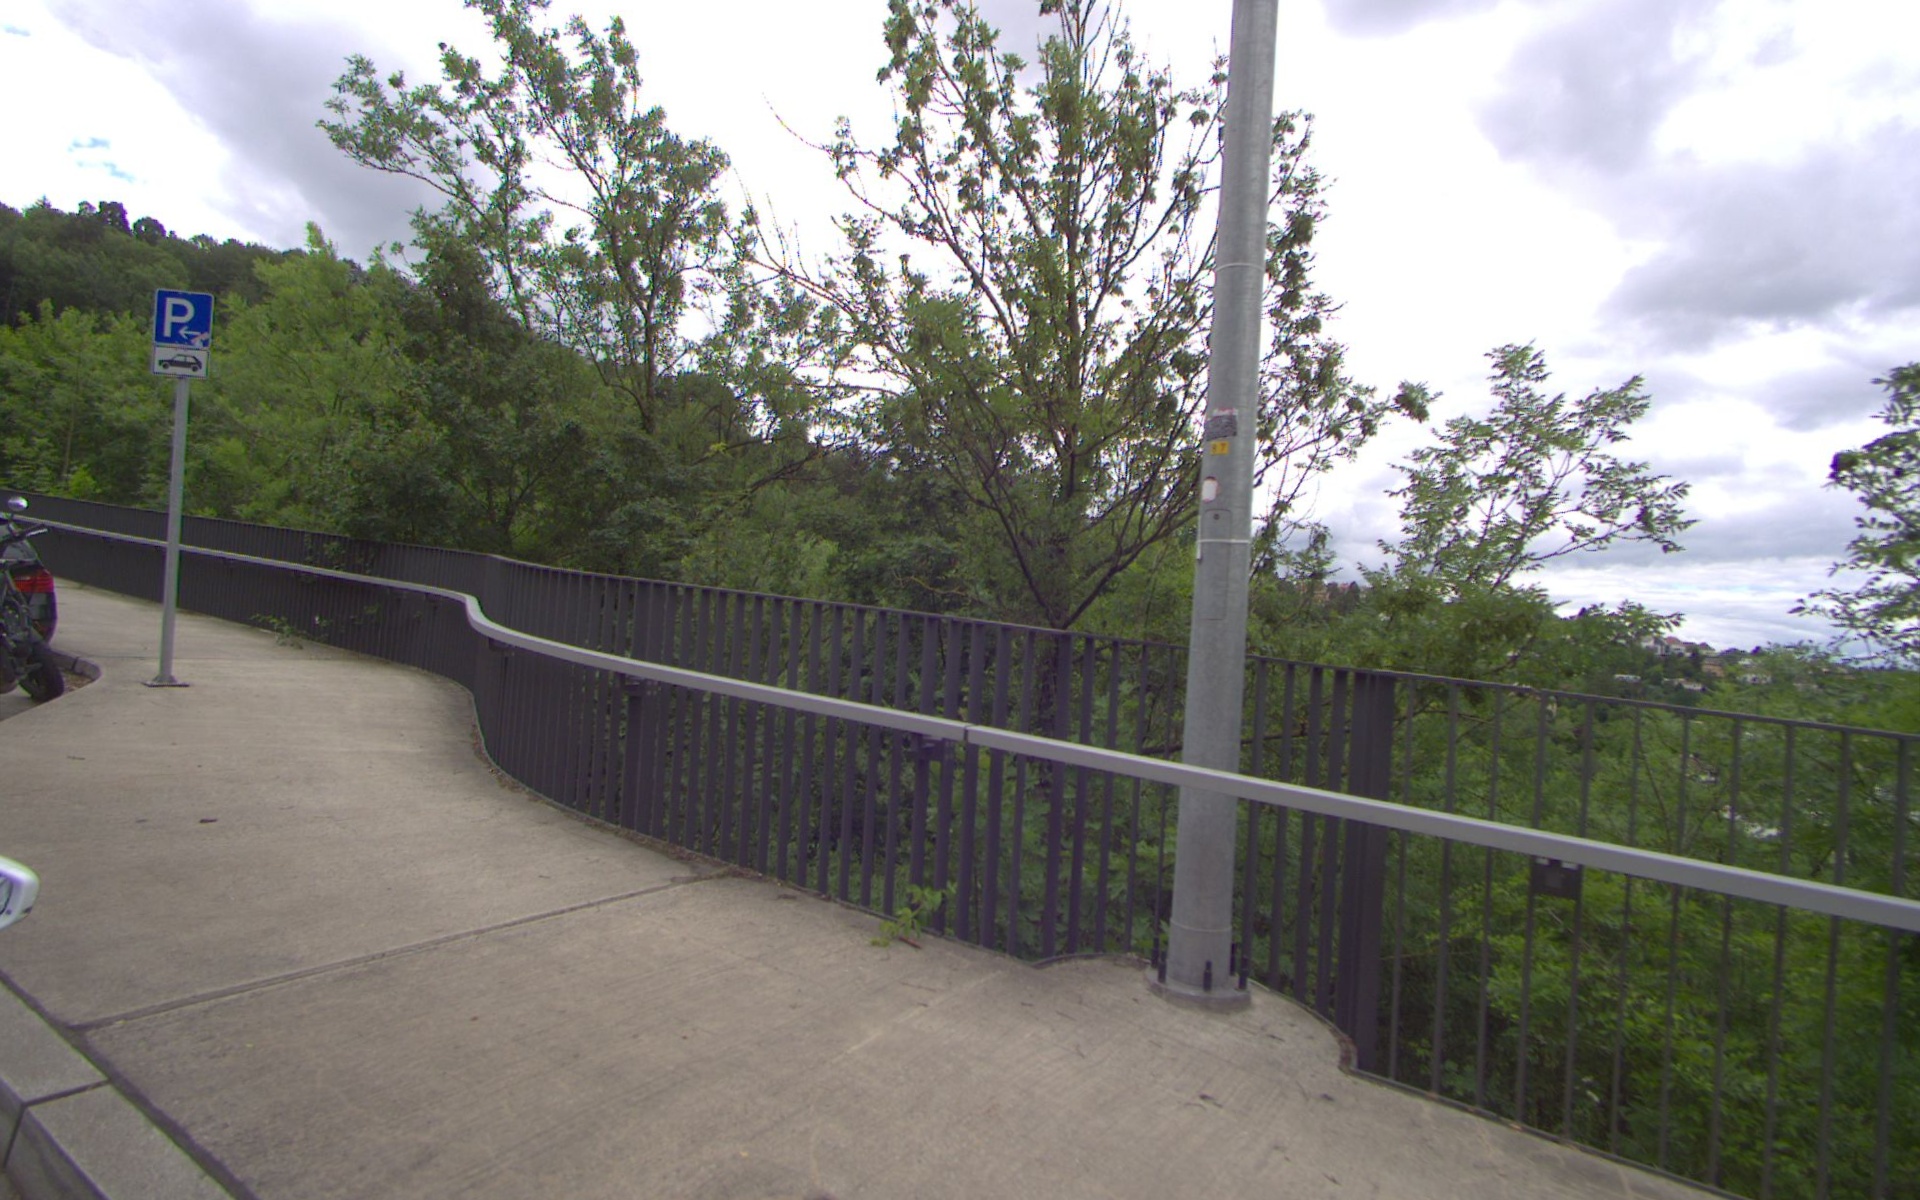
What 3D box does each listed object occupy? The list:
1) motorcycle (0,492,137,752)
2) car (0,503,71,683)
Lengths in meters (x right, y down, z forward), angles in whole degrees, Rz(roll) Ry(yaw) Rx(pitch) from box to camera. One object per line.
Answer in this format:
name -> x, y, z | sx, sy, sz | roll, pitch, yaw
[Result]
motorcycle -> -6.363, 0.039, 6.709 | 0.764, 1.485, 2.487 | 8, -1, -29
car -> -9.727, -0.273, 8.695 | 4.247, 1.419, 1.824 | 7, 1, 31
